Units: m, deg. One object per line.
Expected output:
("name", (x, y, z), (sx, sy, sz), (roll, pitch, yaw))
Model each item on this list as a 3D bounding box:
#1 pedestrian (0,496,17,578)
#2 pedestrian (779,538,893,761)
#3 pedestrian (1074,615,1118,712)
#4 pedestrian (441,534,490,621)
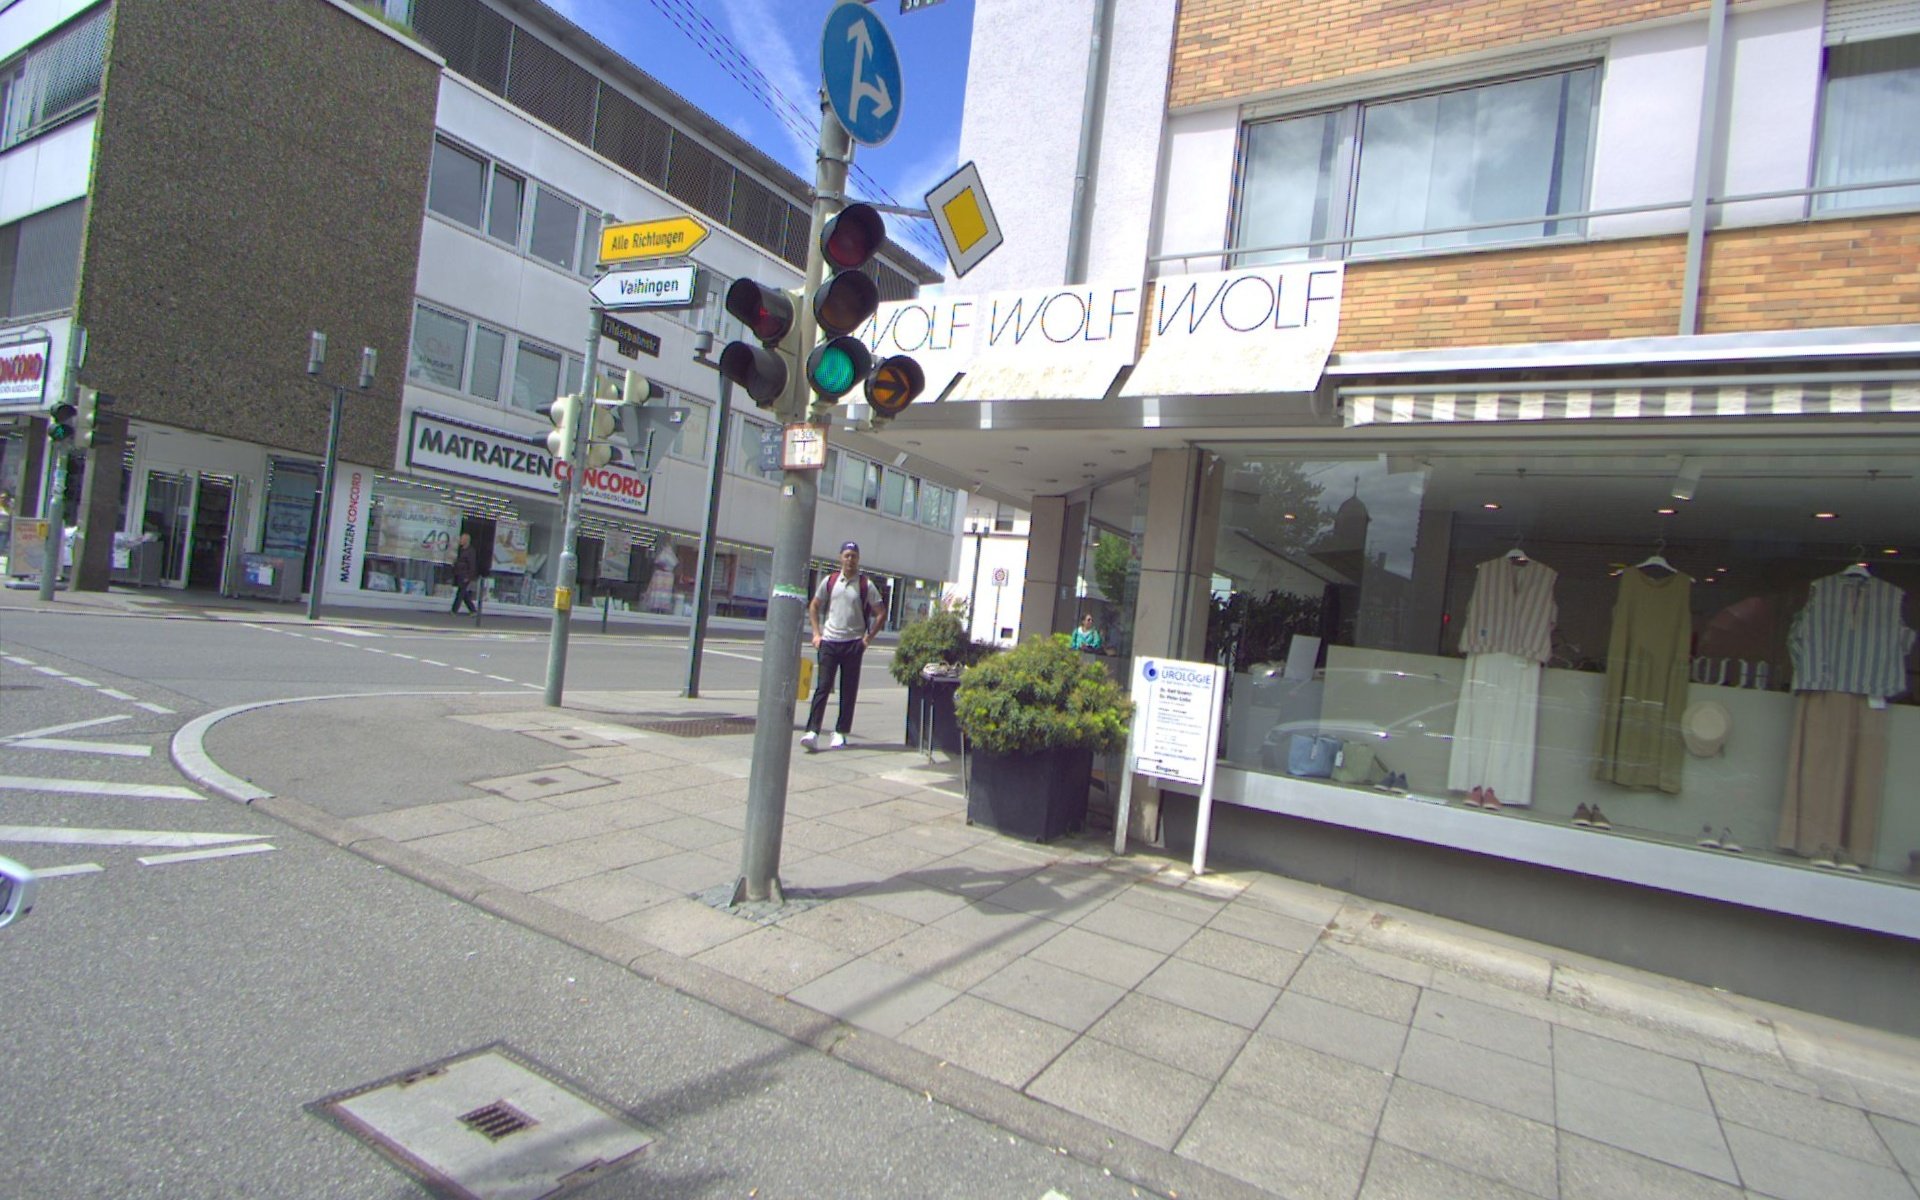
("pedestrian", (-17.807, -1.176, 18.592), (0.502, 1.478, 0.493), (3, 2, -45))
("pedestrian", (-1.084, 0.417, 8.875), (0.762, 1.839, 0.612), (6, 3, 0))
("pedestrian", (2.308, 1.078, 17.065), (0.519, 1.577, 0.590), (5, -2, 15))
("pedestrian", (-10.324, -0.467, 21.010), (0.608, 1.728, 0.579), (6, 2, 0))
